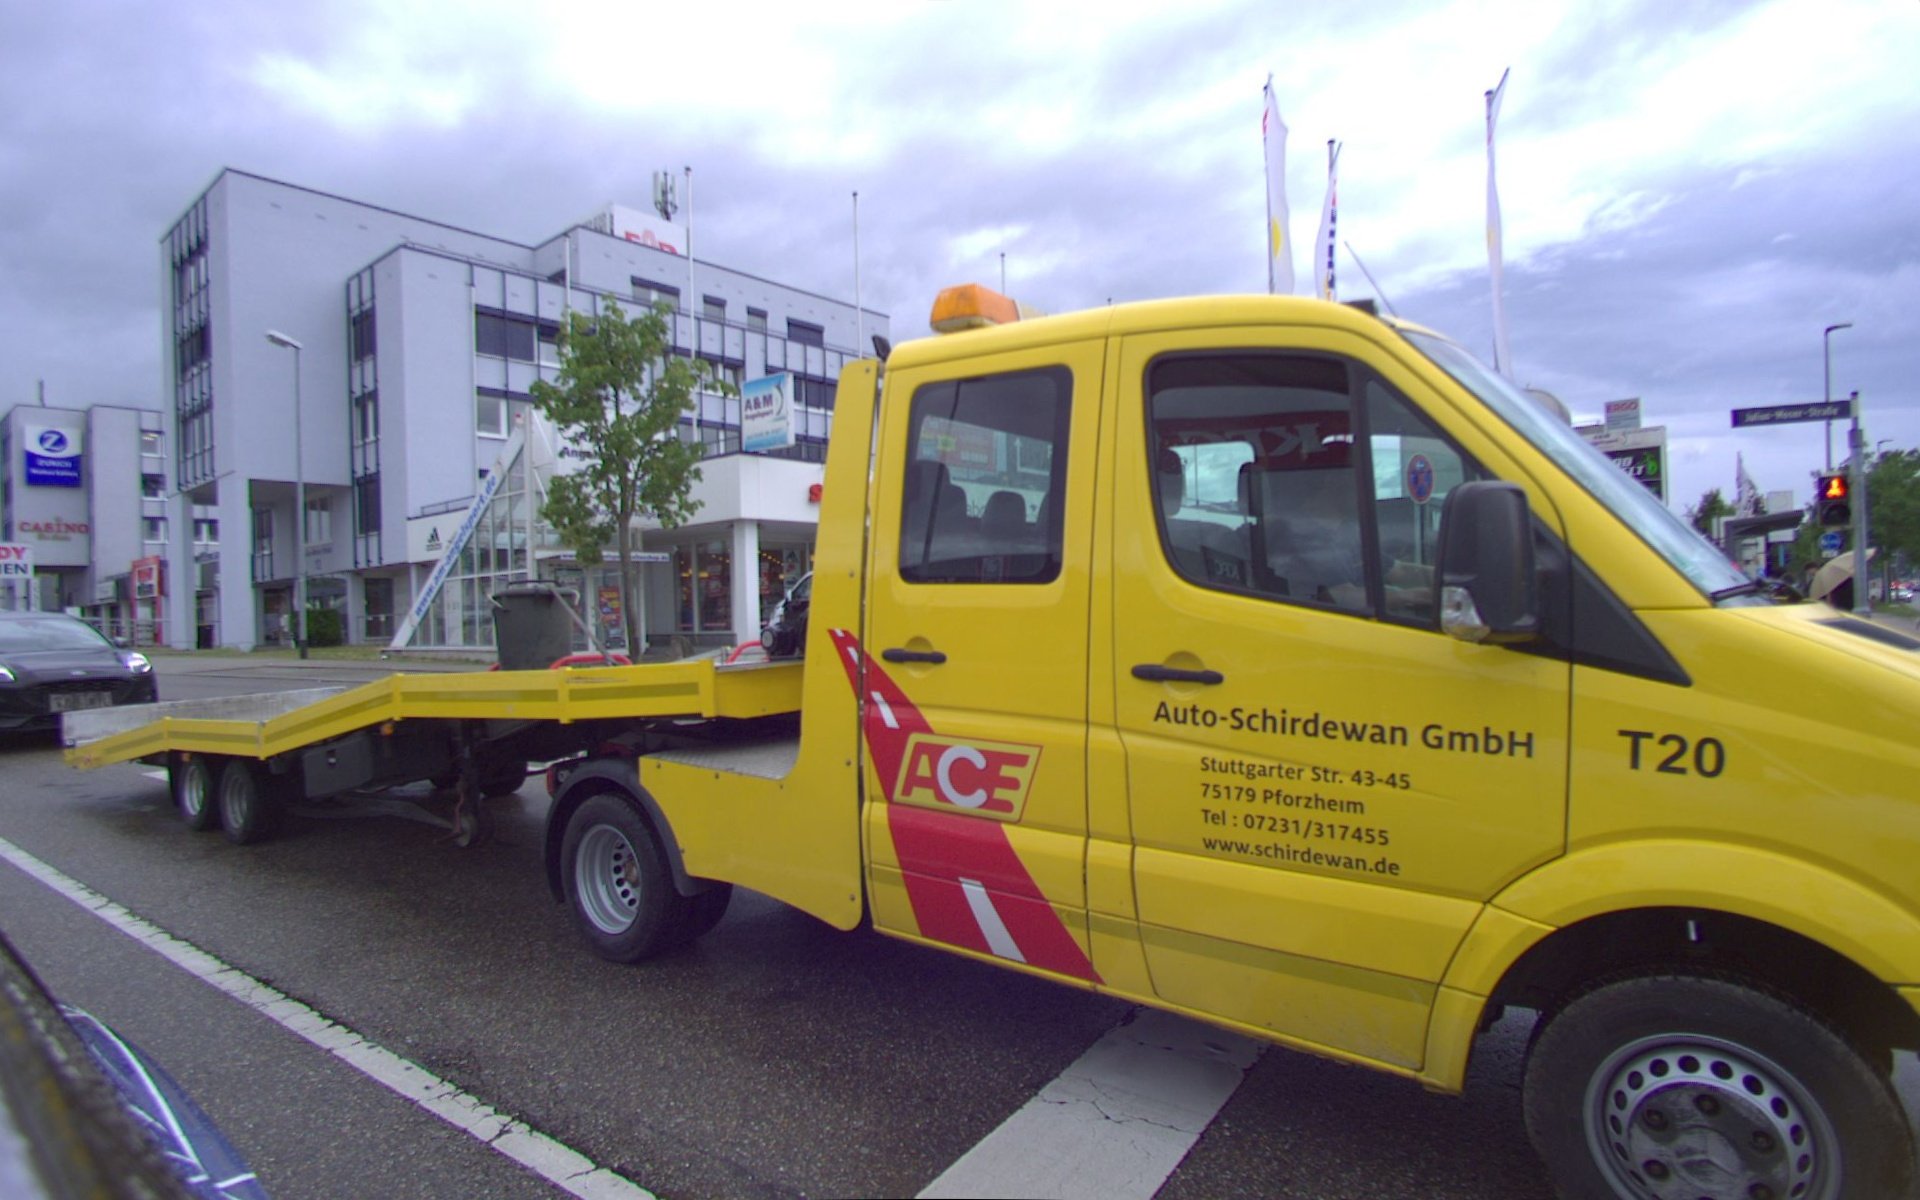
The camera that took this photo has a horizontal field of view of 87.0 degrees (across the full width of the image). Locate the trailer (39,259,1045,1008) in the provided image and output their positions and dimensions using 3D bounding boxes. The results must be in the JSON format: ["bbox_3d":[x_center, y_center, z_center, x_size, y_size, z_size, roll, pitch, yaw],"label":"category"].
[{"bbox_3d":[-3.455,0.207,6.646,7.954,2.493,2.283,-2,-1,36],"label":"trailer"}]

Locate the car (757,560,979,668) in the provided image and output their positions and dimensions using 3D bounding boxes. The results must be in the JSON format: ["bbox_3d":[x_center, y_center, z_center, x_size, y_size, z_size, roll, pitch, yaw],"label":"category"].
[{"bbox_3d":[-2.047,0.297,21.461,4.786,2.029,1.972,-1,-1,42],"label":"car"}]

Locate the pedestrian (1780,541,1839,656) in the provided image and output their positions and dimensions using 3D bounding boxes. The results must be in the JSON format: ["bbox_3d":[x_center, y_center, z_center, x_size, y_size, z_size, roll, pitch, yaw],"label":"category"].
[{"bbox_3d":[15.361,-0.018,18.304,0.687,2.029,0.742,0,-1,-45],"label":"pedestrian"}]

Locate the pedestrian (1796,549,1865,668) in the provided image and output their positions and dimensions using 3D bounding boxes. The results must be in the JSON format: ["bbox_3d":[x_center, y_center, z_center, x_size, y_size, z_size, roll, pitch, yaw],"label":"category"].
[{"bbox_3d":[14.068,0.121,16.371,0.816,1.870,0.688,1,2,42],"label":"pedestrian"}]

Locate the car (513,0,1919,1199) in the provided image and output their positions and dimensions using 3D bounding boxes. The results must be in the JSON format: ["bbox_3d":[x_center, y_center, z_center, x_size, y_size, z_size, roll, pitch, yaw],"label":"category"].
[{"bbox_3d":[0.859,0.149,3.543,5.004,2.493,2.220,-2,-1,36],"label":"car"}]

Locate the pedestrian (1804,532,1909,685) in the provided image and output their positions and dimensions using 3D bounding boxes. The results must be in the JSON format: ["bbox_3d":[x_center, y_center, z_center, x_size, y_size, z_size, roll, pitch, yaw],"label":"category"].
[{"bbox_3d":[12.221,0.105,13.821,0.804,2.029,0.698,0,0,-2],"label":"pedestrian"}]

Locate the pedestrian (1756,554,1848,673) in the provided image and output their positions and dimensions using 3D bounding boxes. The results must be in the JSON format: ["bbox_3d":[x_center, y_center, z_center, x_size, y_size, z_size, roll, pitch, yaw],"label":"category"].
[{"bbox_3d":[13.015,0.199,15.664,0.804,1.788,0.698,0,1,-2],"label":"pedestrian"}]

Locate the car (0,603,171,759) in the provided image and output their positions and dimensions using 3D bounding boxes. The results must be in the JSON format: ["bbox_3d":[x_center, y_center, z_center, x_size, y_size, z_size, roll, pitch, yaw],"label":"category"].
[{"bbox_3d":[-11.168,0.864,11.876,3.988,1.552,1.794,-1,1,33],"label":"car"}]

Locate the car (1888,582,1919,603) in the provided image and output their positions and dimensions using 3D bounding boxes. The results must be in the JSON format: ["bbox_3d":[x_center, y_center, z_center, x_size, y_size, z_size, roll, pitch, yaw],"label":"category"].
[{"bbox_3d":[82.624,-0.626,88.601,1.618,1.741,3.632,-1,-1,37],"label":"car"}]
